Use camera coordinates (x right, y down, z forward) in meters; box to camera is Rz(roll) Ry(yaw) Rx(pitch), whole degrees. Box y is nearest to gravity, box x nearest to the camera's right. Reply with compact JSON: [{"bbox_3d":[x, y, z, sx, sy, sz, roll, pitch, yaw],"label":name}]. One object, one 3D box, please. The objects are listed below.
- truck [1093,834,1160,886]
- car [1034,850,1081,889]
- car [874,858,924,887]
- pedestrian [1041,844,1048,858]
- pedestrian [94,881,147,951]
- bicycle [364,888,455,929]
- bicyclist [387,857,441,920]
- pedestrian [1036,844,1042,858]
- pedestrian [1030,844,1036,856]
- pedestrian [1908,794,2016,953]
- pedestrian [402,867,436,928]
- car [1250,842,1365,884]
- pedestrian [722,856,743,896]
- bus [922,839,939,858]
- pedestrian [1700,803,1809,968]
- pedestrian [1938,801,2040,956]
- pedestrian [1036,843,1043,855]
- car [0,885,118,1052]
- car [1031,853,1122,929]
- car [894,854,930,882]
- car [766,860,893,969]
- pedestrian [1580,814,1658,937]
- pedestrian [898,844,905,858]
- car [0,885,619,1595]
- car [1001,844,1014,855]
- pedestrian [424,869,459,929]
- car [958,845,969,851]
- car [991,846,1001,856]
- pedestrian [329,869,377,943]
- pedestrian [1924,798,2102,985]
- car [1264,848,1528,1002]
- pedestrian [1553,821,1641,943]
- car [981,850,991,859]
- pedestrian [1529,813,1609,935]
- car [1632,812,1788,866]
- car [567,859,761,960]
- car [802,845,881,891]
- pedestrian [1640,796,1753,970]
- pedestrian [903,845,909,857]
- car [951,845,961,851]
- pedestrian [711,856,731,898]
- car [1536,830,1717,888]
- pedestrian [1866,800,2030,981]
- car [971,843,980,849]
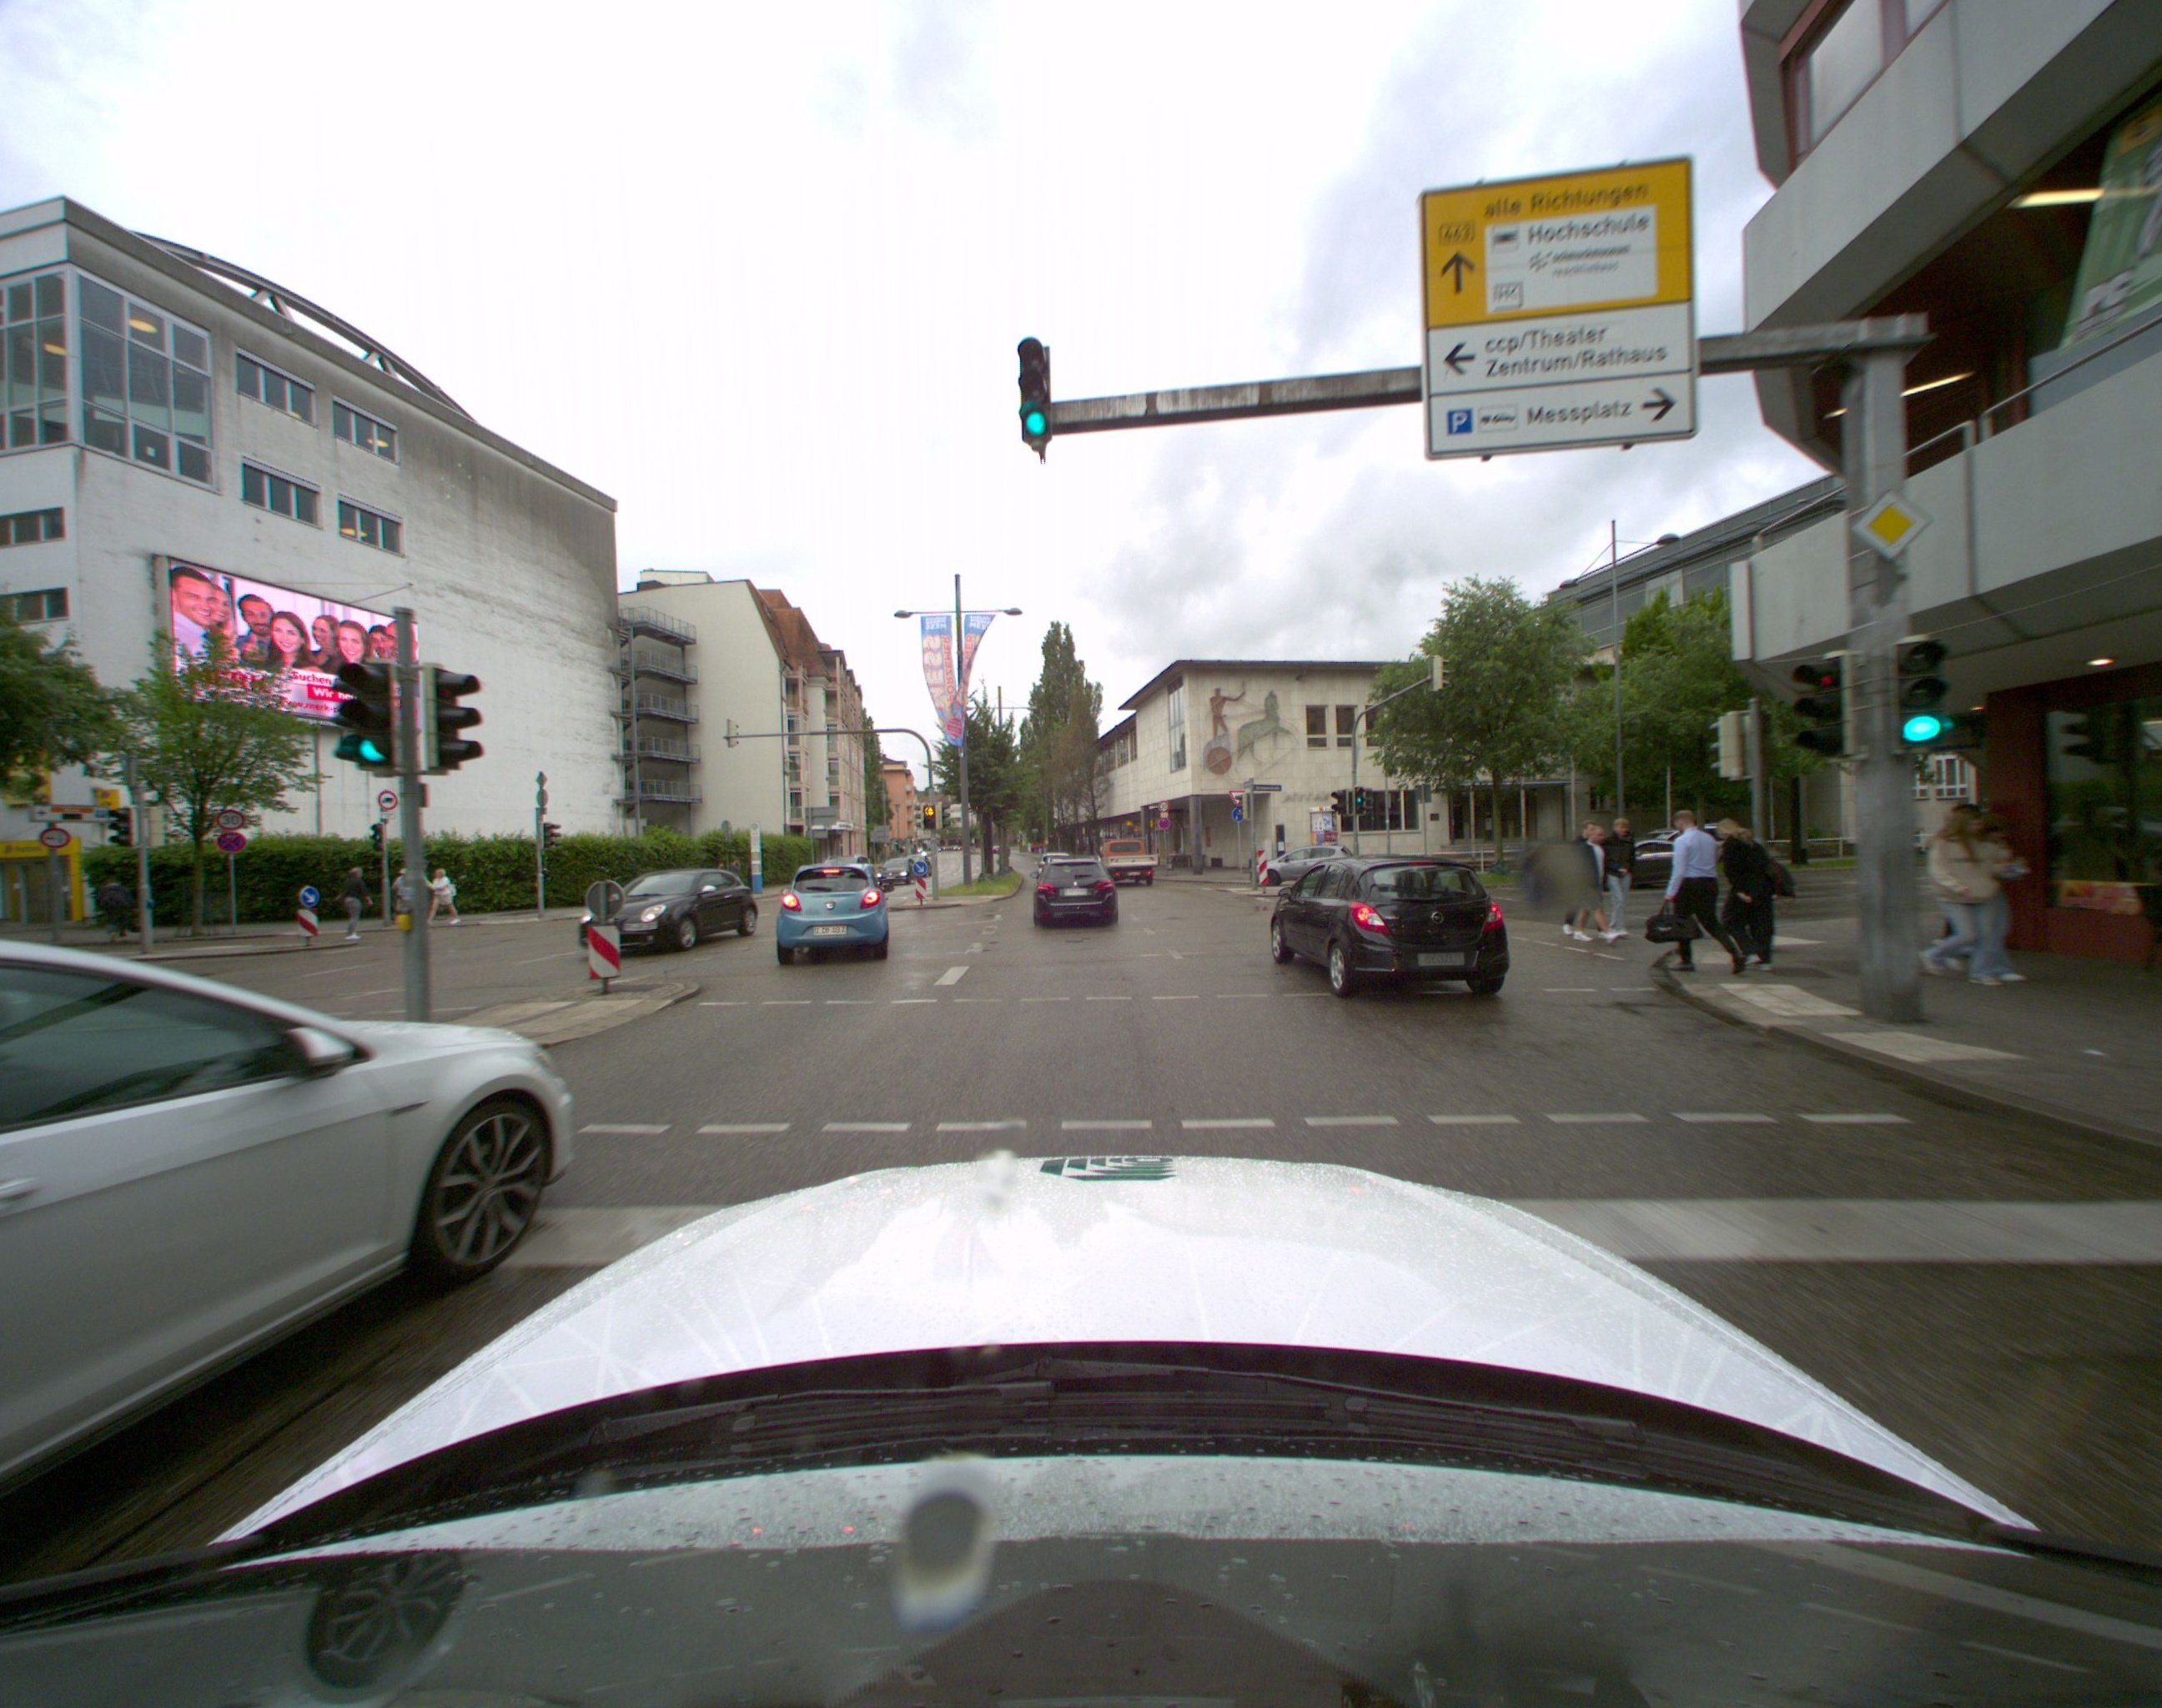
[{"bbox_3d":[1.883,0.258,35.204,2.119,2.025,4.706,-3,0,-6],"label":"truck"},{"bbox_3d":[-1.037,0.606,34.194,1.791,1.483,3.996,-2,0,-3],"label":"car"},{"bbox_3d":[-10.077,0.986,45.342,1.751,1.420,4.097,-4,0,1],"label":"car"},{"bbox_3d":[-4.654,-0.423,104.866,0.698,1.801,0.604,-4,1,-10],"label":"pedestrian"},{"bbox_3d":[-25.609,1.639,21.736,0.798,1.781,0.645,0,-3,-40],"label":"pedestrian"},{"bbox_3d":[-20.668,1.660,25.135,0.644,1.110,2.069,-2,0,22],"label":"bicycle"},{"bbox_3d":[-20.699,1.054,25.284,0.784,1.890,0.959,-2,0,22],"label":"bicyclist"},{"bbox_3d":[-5.416,-0.419,104.812,0.653,1.767,0.920,-4,1,-10],"label":"pedestrian"},{"bbox_3d":[-6.553,-0.574,110.855,0.717,1.620,0.767,-4,1,-10],"label":"pedestrian"},{"bbox_3d":[10.114,0.227,9.369,0.592,1.763,0.493,-2,-2,3],"label":"pedestrian"},{"bbox_3d":[-19.735,1.286,24.281,0.525,1.764,0.593,0,0,1],"label":"pedestrian"},{"bbox_3d":[8.563,0.349,30.738,3.952,1.477,2.011,-1,0,21],"label":"car"},{"bbox_3d":[-15.743,1.003,36.783,0.640,1.765,0.592,-2,-3,-1],"label":"pedestrian"},{"bbox_3d":[-27.750,-1.110,149.618,2.745,3.075,12.191,-2,2,-11],"label":"bus"},{"bbox_3d":[7.564,0.354,9.183,0.618,1.774,0.679,-2,-2,9],"label":"pedestrian"},{"bbox_3d":[10.691,0.282,9.605,0.524,1.763,0.512,-2,-2,3],"label":"pedestrian"},{"bbox_3d":[-5.677,-0.667,110.950,0.726,1.589,0.604,-4,1,-10],"label":"pedestrian"},{"bbox_3d":[-10.982,1.136,6.680,1.665,1.515,3.646,-4,0,3],"label":"car"},{"bbox_3d":[-0.074,0.751,18.199,1.789,1.483,4.000,-1,0,0],"label":"car"},{"bbox_3d":[-11.603,0.904,56.087,1.825,1.736,4.251,-4,0,-5],"label":"car"},{"bbox_3d":[-4.041,0.874,13.600,1.697,1.474,3.674,-2,0,-13],"label":"car"},{"bbox_3d":[8.645,0.347,13.118,0.729,1.896,0.677,-2,-1,2],"label":"pedestrian"},{"bbox_3d":[-23.783,-0.402,107.984,0.697,1.794,0.956,-1,0,-7],"label":"pedestrian"},{"bbox_3d":[-3.105,0.834,1.821,1.758,1.409,4.001,-1,-1,2],"label":"car"},{"bbox_3d":[-11.343,-0.630,125.623,1.644,1.564,3.588,1,-2,-9],"label":"car"},{"bbox_3d":[-19.028,1.322,24.228,0.525,1.764,0.592,1,-1,1],"label":"pedestrian"},{"bbox_3d":[-35.064,-1.679,243.195,1.656,1.564,3.561,2,-3,-34],"label":"car"},{"bbox_3d":[-14.825,-0.572,141.963,1.644,1.564,3.588,1,-2,-9],"label":"car"},{"bbox_3d":[-17.927,1.264,20.062,0.645,1.765,0.592,-2,-3,-2],"label":"pedestrian"},{"bbox_3d":[9.166,0.345,8.057,0.586,1.706,0.972,-4,0,5],"label":"pedestrian"},{"bbox_3d":[3.468,0.675,9.750,1.702,1.457,3.742,-1,0,0],"label":"car"},{"bbox_3d":[7.806,0.406,12.360,0.746,1.779,0.888,-1,0,-1],"label":"pedestrian"},{"bbox_3d":[-18.704,0.061,160.063,1.644,1.564,3.588,1,-2,-9],"label":"car"},{"bbox_3d":[7.907,0.323,13.231,0.755,1.901,0.790,-2,-1,3],"label":"pedestrian"},{"bbox_3d":[23.403,-0.554,30.372,4.589,1.759,1.852,-3,-1,-7],"label":"car"},{"bbox_3d":[-7.600,0.927,15.266,1.617,1.555,3.660,-2,0,1],"label":"car"},{"bbox_3d":[-9.945,0.562,34.121,1.820,1.736,4.312,-3,0,2],"label":"car"},{"bbox_3d":[6.907,0.324,9.187,0.618,1.847,0.850,-2,-2,9],"label":"pedestrian"},{"bbox_3d":[-25.459,-0.432,118.464,0.796,1.794,0.810,-1,0,-7],"label":"pedestrian"},{"bbox_3d":[-36.690,-1.650,239.237,1.656,1.564,3.561,2,-3,-34],"label":"car"},{"bbox_3d":[-15.534,1.003,35.146,0.525,1.765,0.630,-2,-3,-1],"label":"pedestrian"},{"bbox_3d":[15.539,0.130,23.266,4.260,1.420,1.781,-2,0,-10],"label":"car"},{"bbox_3d":[8.571,0.336,8.098,0.571,1.663,0.942,-4,0,5],"label":"pedestrian"},{"bbox_3d":[-30.200,-2.230,232.661,1.995,1.684,3.983,-3,1,-12],"label":"car"}]
